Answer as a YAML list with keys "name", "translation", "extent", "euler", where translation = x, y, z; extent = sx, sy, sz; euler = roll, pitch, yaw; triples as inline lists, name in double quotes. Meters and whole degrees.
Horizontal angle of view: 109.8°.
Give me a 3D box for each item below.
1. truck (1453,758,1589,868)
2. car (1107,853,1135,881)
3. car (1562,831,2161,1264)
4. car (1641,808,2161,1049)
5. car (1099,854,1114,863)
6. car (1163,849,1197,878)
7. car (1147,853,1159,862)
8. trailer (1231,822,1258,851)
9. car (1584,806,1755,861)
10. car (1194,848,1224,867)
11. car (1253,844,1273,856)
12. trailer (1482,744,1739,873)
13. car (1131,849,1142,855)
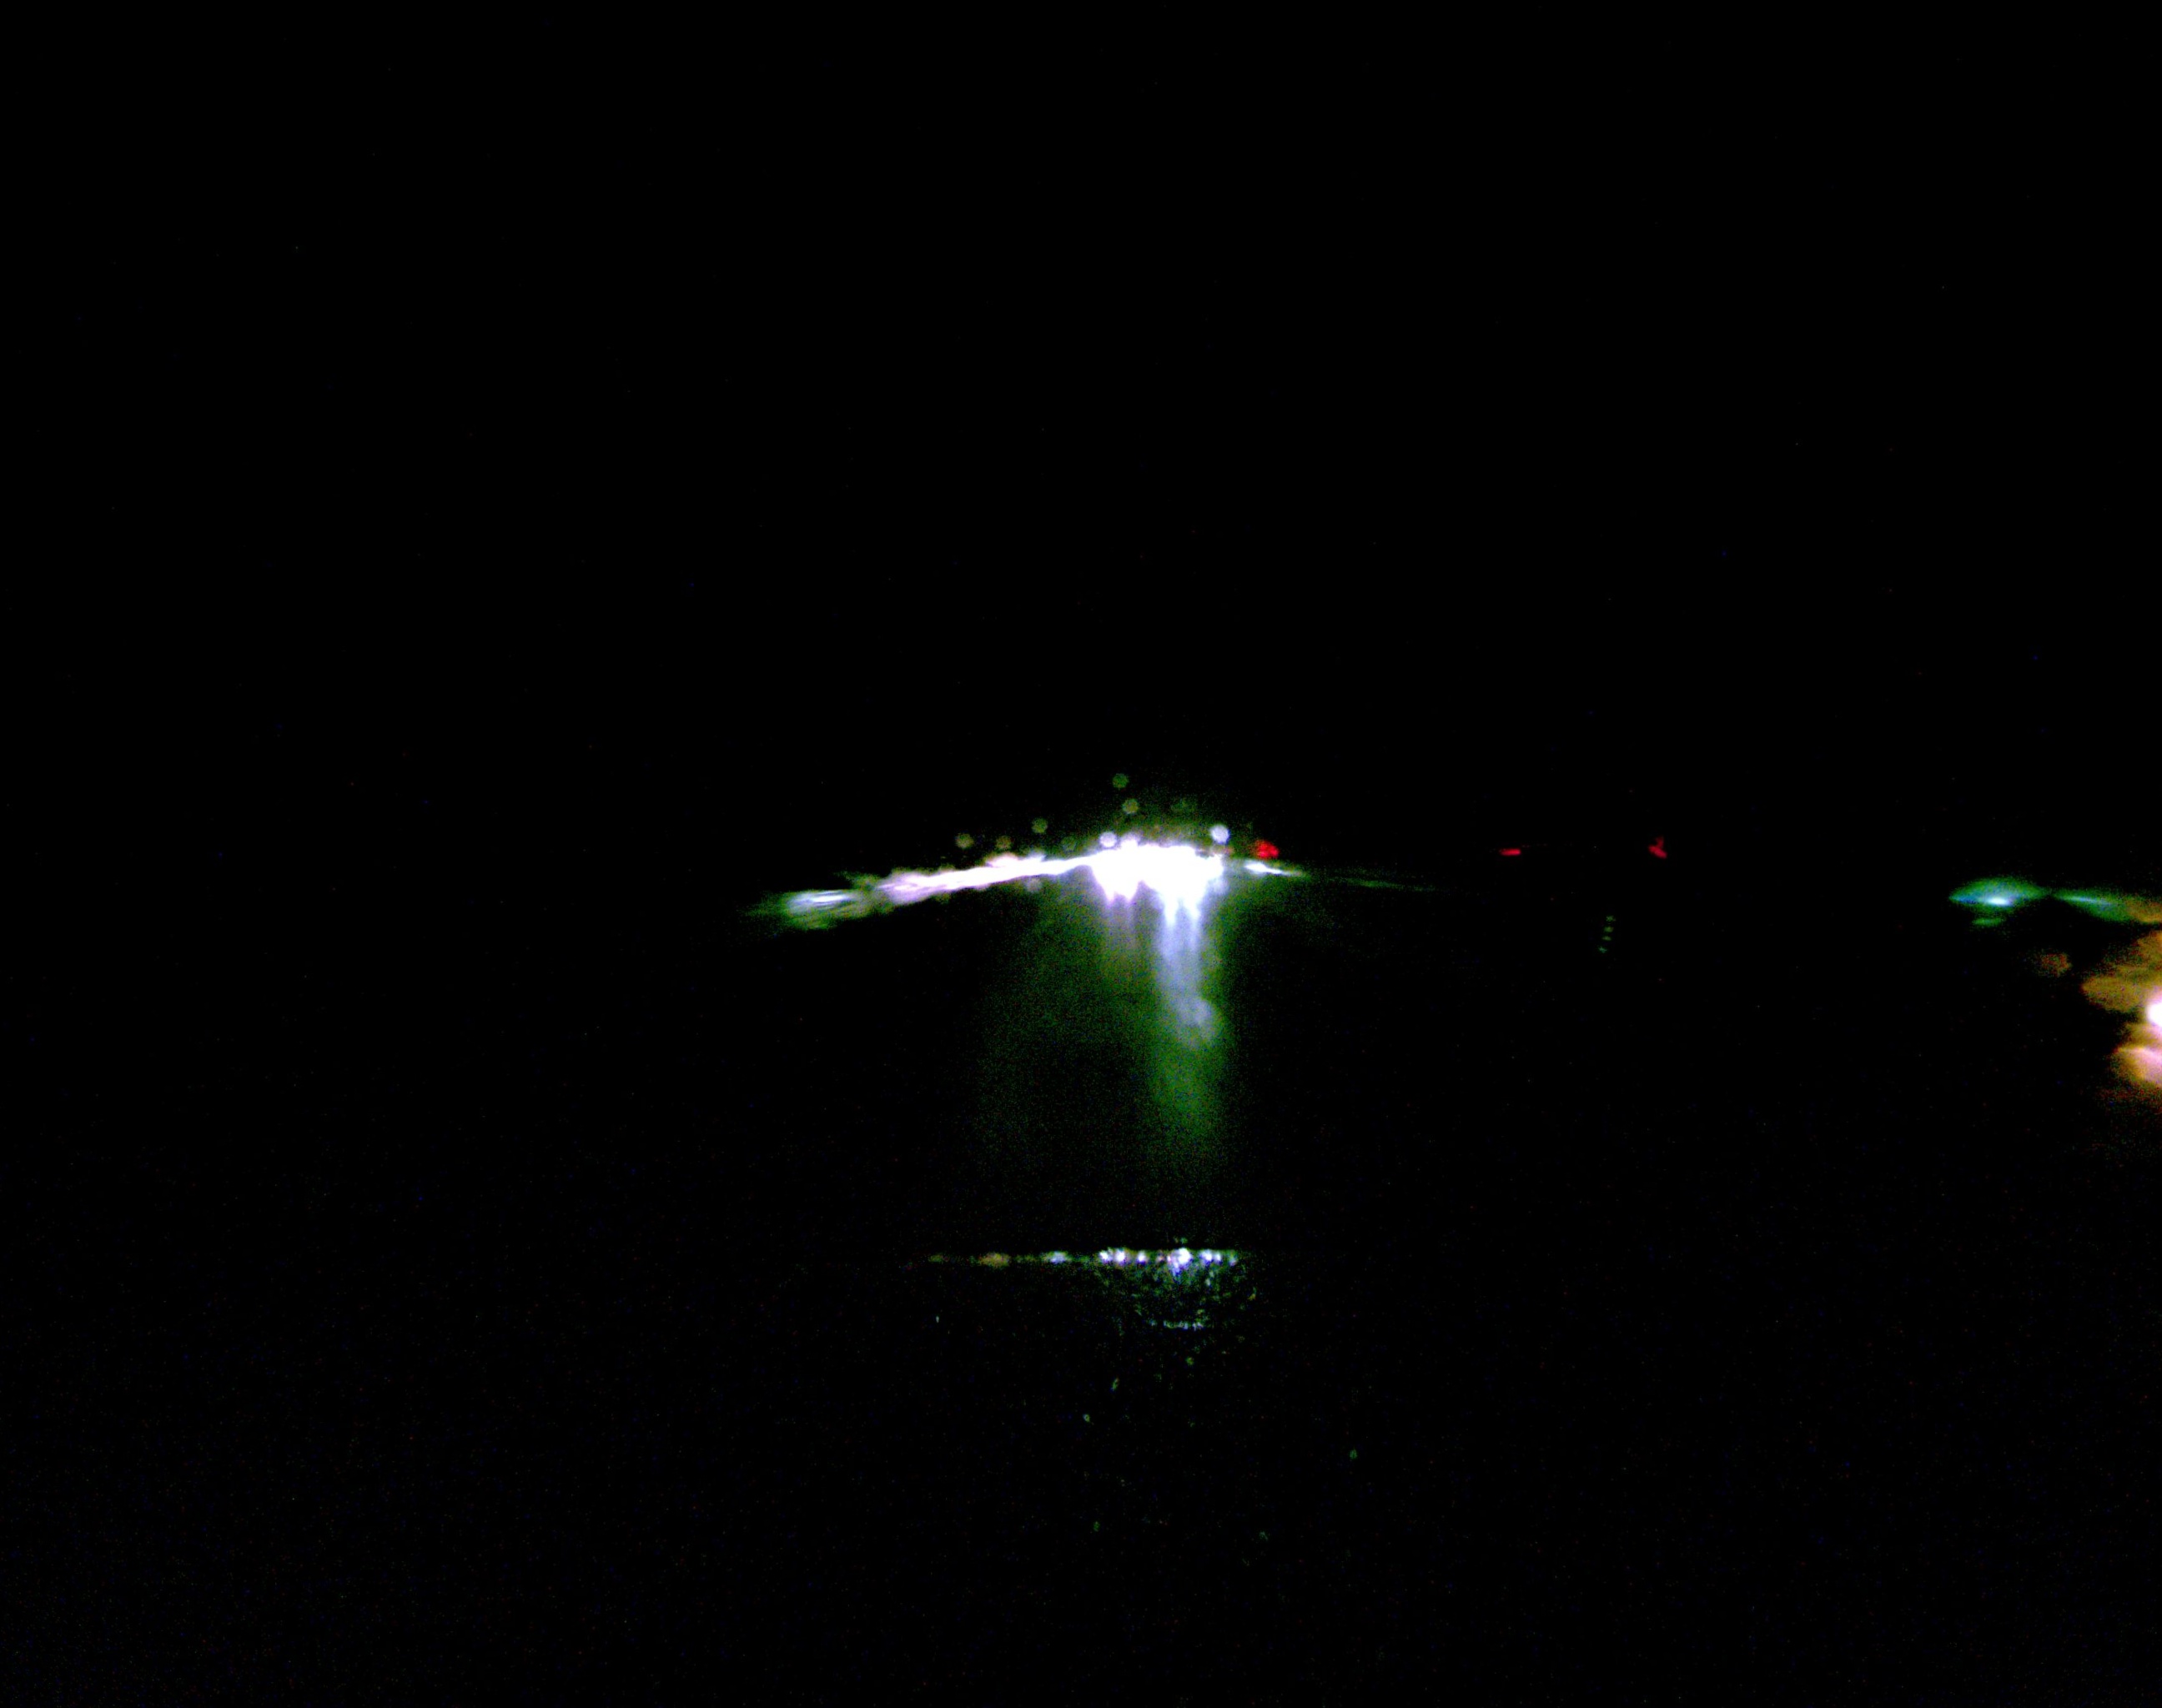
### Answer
- name: "truck"
  translation: [27.017, -2.393, 47.221]
  extent: [4.177, 6.093, 7.345]
  euler: [-3, 1, 2]
- name: "car"
  translation: [3.156, 0.994, 59.836]
  extent: [1.998, 2.002, 4.000]
  euler: [-3, 1, 3]
- name: "car"
  translation: [5.108, 0.702, 4.524]
  extent: [1.920, 1.585, 4.234]
  euler: [-3, 1, 3]
- name: "car"
  translation: [8.807, 0.515, 8.134]
  extent: [1.998, 1.767, 4.886]
  euler: [-3, 1, 1]
- name: "car"
  translation: [3.958, 0.679, 117.343]
  extent: [1.998, 1.149, 4.001]
  euler: [-3, 0, 6]
- name: "car"
  translation: [6.473, 0.589, 49.990]
  extent: [1.998, 1.667, 4.001]
  euler: [-3, 1, 5]
- name: "car"
  translation: [10.481, 0.510, 110.593]
  extent: [1.692, 1.149, 3.421]
  euler: [-3, 0, 5]
- name: "trailer"
  translation: [38.783, -4.081, 180.760]
  extent: [3.470, 6.092, 14.411]
  euler: [-7, 0, 4]
- name: "car"
  translation: [18.942, -0.625, 24.812]
  extent: [1.711, 1.472, 5.017]
  euler: [-5, 0, 2]
- name: "car"
  translation: [11.765, 0.316, 70.202]
  extent: [2.309, 1.600, 3.872]
  euler: [-3, 1, 4]
- name: "car"
  translation: [27.421, -0.581, 114.349]
  extent: [1.998, 1.633, 4.253]
  euler: [-3, 1, 2]
- name: "trailer"
  translation: [26.771, -2.060, 40.110]
  extent: [4.177, 5.413, 13.747]
  euler: [-3, 1, 2]
- name: "car"
  translation: [12.148, -0.394, 166.748]
  extent: [1.997, 1.149, 4.002]
  euler: [-3, 0, 7]
